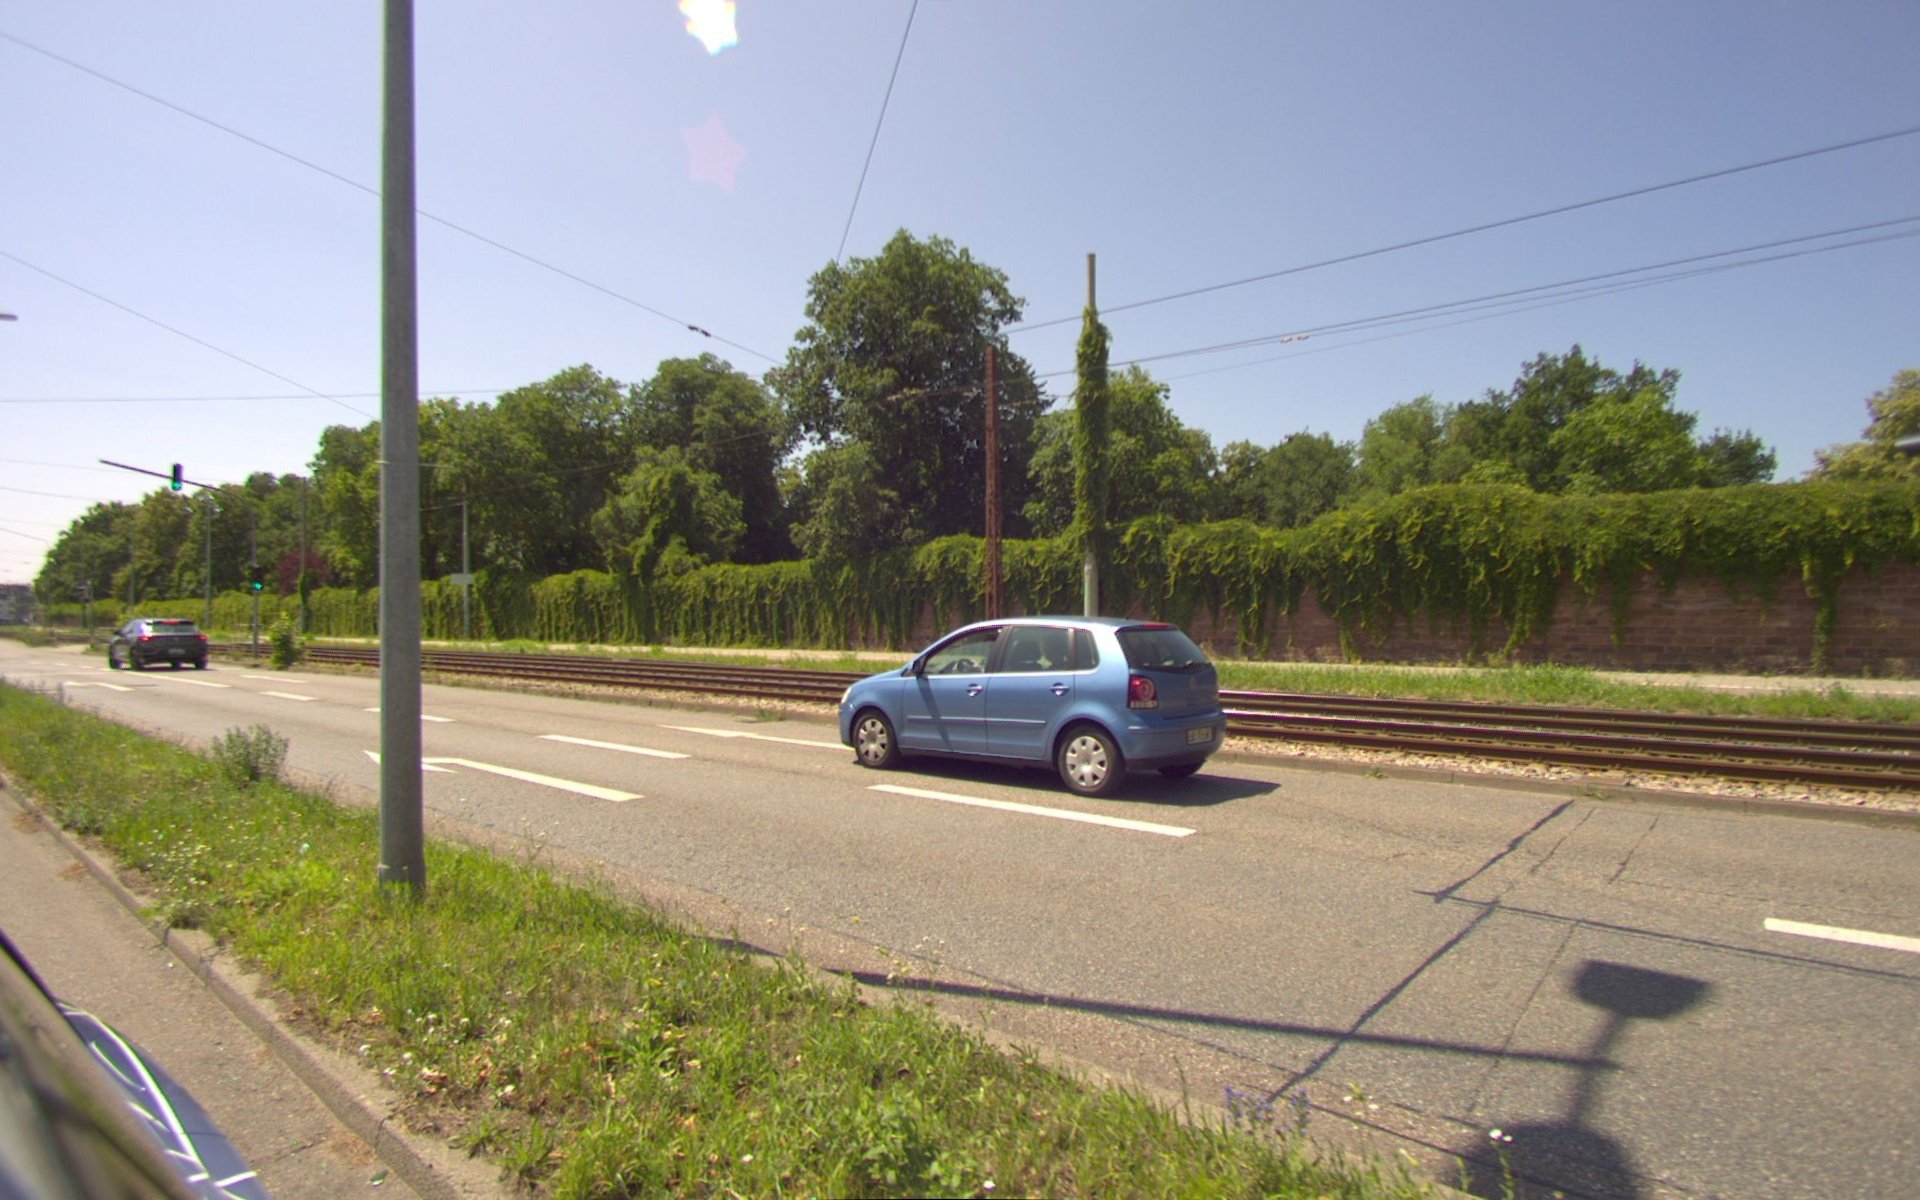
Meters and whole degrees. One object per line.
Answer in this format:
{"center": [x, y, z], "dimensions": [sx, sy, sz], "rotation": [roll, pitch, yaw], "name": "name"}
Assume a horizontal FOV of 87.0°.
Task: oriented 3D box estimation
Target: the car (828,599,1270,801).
{"center": [0.682, 0.780, 9.297], "dimensions": [3.788, 1.482, 1.677], "rotation": [-1, -2, 41], "name": "car"}

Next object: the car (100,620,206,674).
{"center": [-24.586, 1.404, 30.787], "dimensions": [4.093, 1.532, 1.743], "rotation": [-1, -2, 40], "name": "car"}
